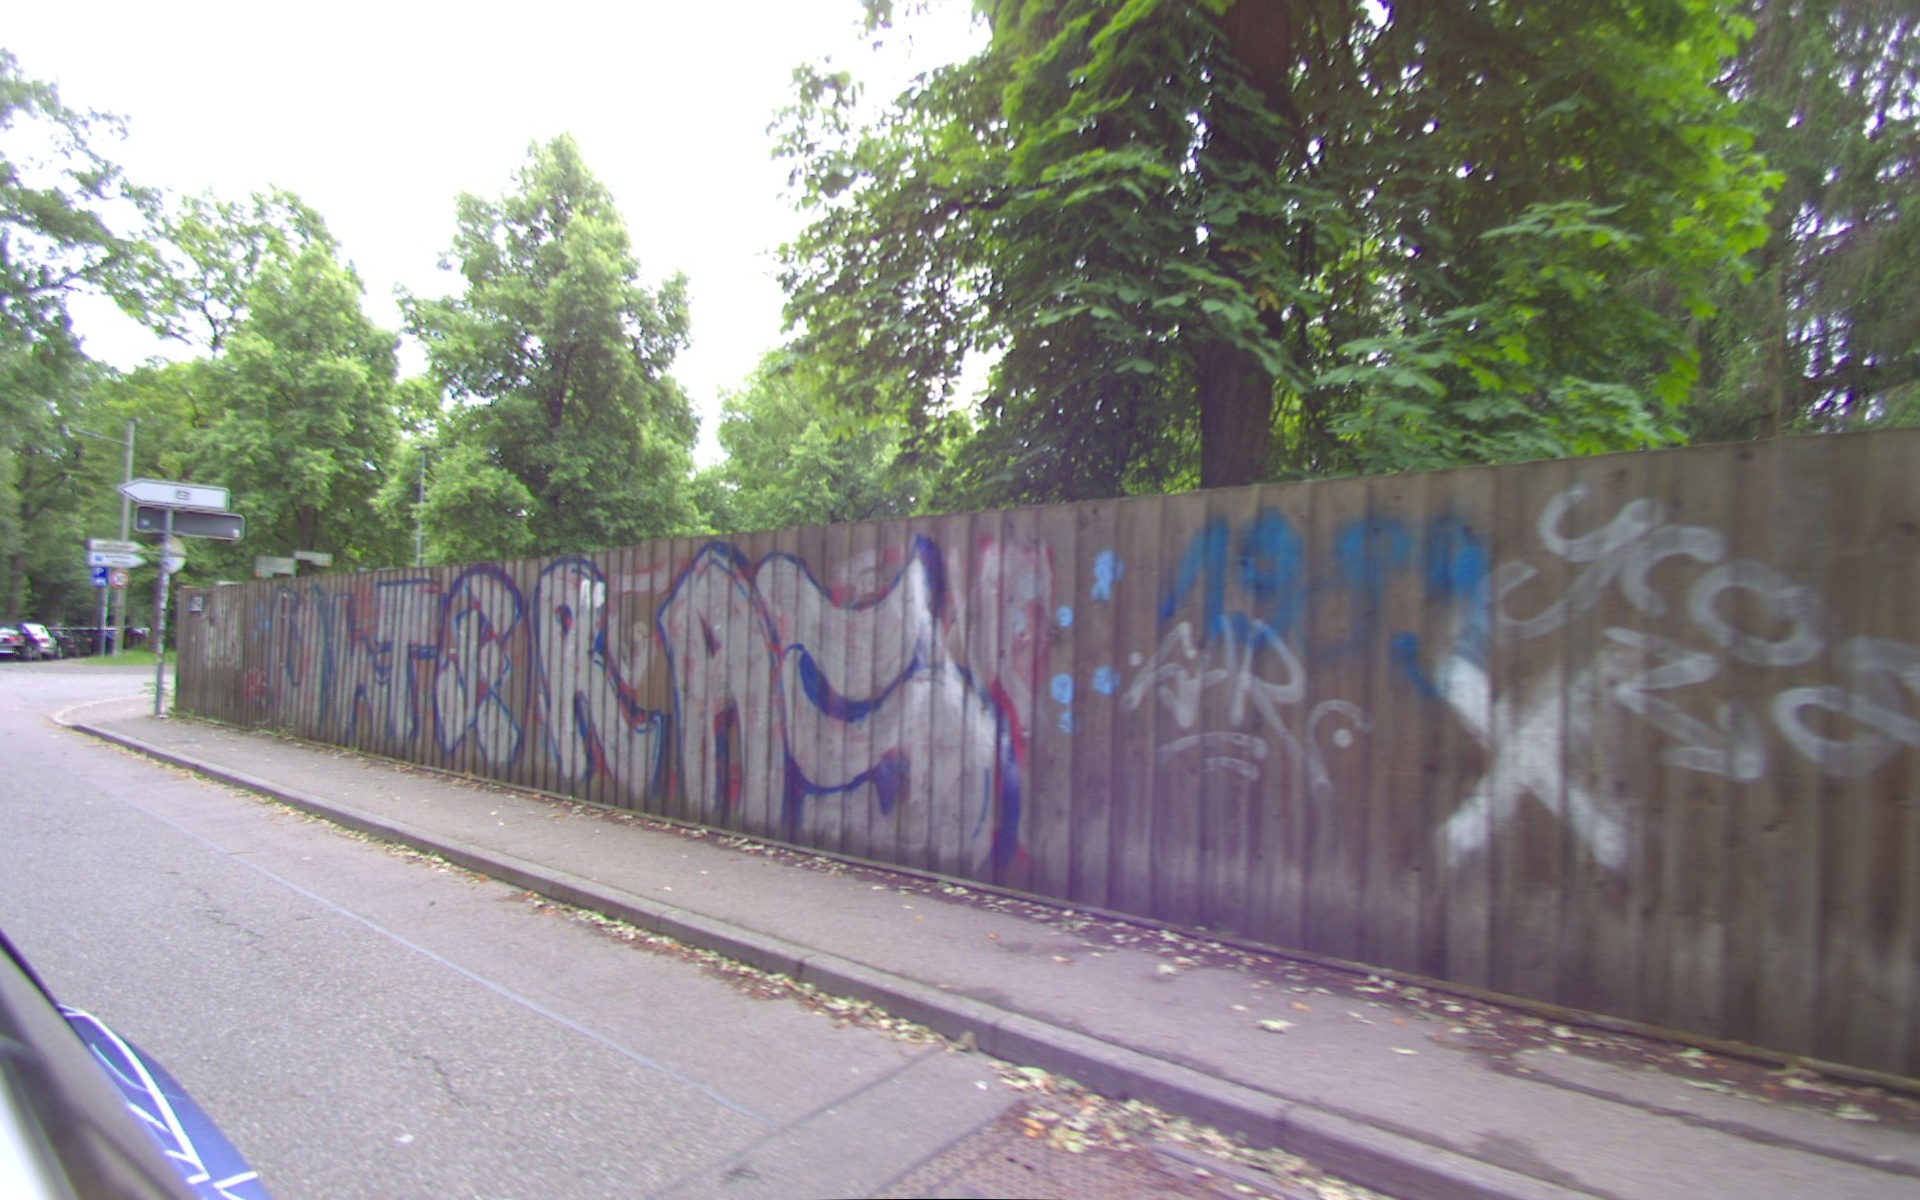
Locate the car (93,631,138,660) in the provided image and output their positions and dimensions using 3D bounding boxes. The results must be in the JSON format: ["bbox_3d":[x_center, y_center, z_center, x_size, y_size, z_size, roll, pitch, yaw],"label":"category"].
[{"bbox_3d":[-51.263,2.743,61.421,1.928,1.631,3.645,6,-4,-40],"label":"car"}]

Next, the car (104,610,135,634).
[{"bbox_3d":[-94.877,2.524,114.229,2.540,2.554,4.944,3,-3,-39],"label":"car"}]

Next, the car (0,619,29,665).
[{"bbox_3d":[-33.347,1.480,34.641,1.743,1.506,4.335,2,-4,-37],"label":"car"}]

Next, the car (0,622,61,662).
[{"bbox_3d":[-36.043,1.645,38.816,1.967,1.431,4.008,2,-4,-37],"label":"car"}]
